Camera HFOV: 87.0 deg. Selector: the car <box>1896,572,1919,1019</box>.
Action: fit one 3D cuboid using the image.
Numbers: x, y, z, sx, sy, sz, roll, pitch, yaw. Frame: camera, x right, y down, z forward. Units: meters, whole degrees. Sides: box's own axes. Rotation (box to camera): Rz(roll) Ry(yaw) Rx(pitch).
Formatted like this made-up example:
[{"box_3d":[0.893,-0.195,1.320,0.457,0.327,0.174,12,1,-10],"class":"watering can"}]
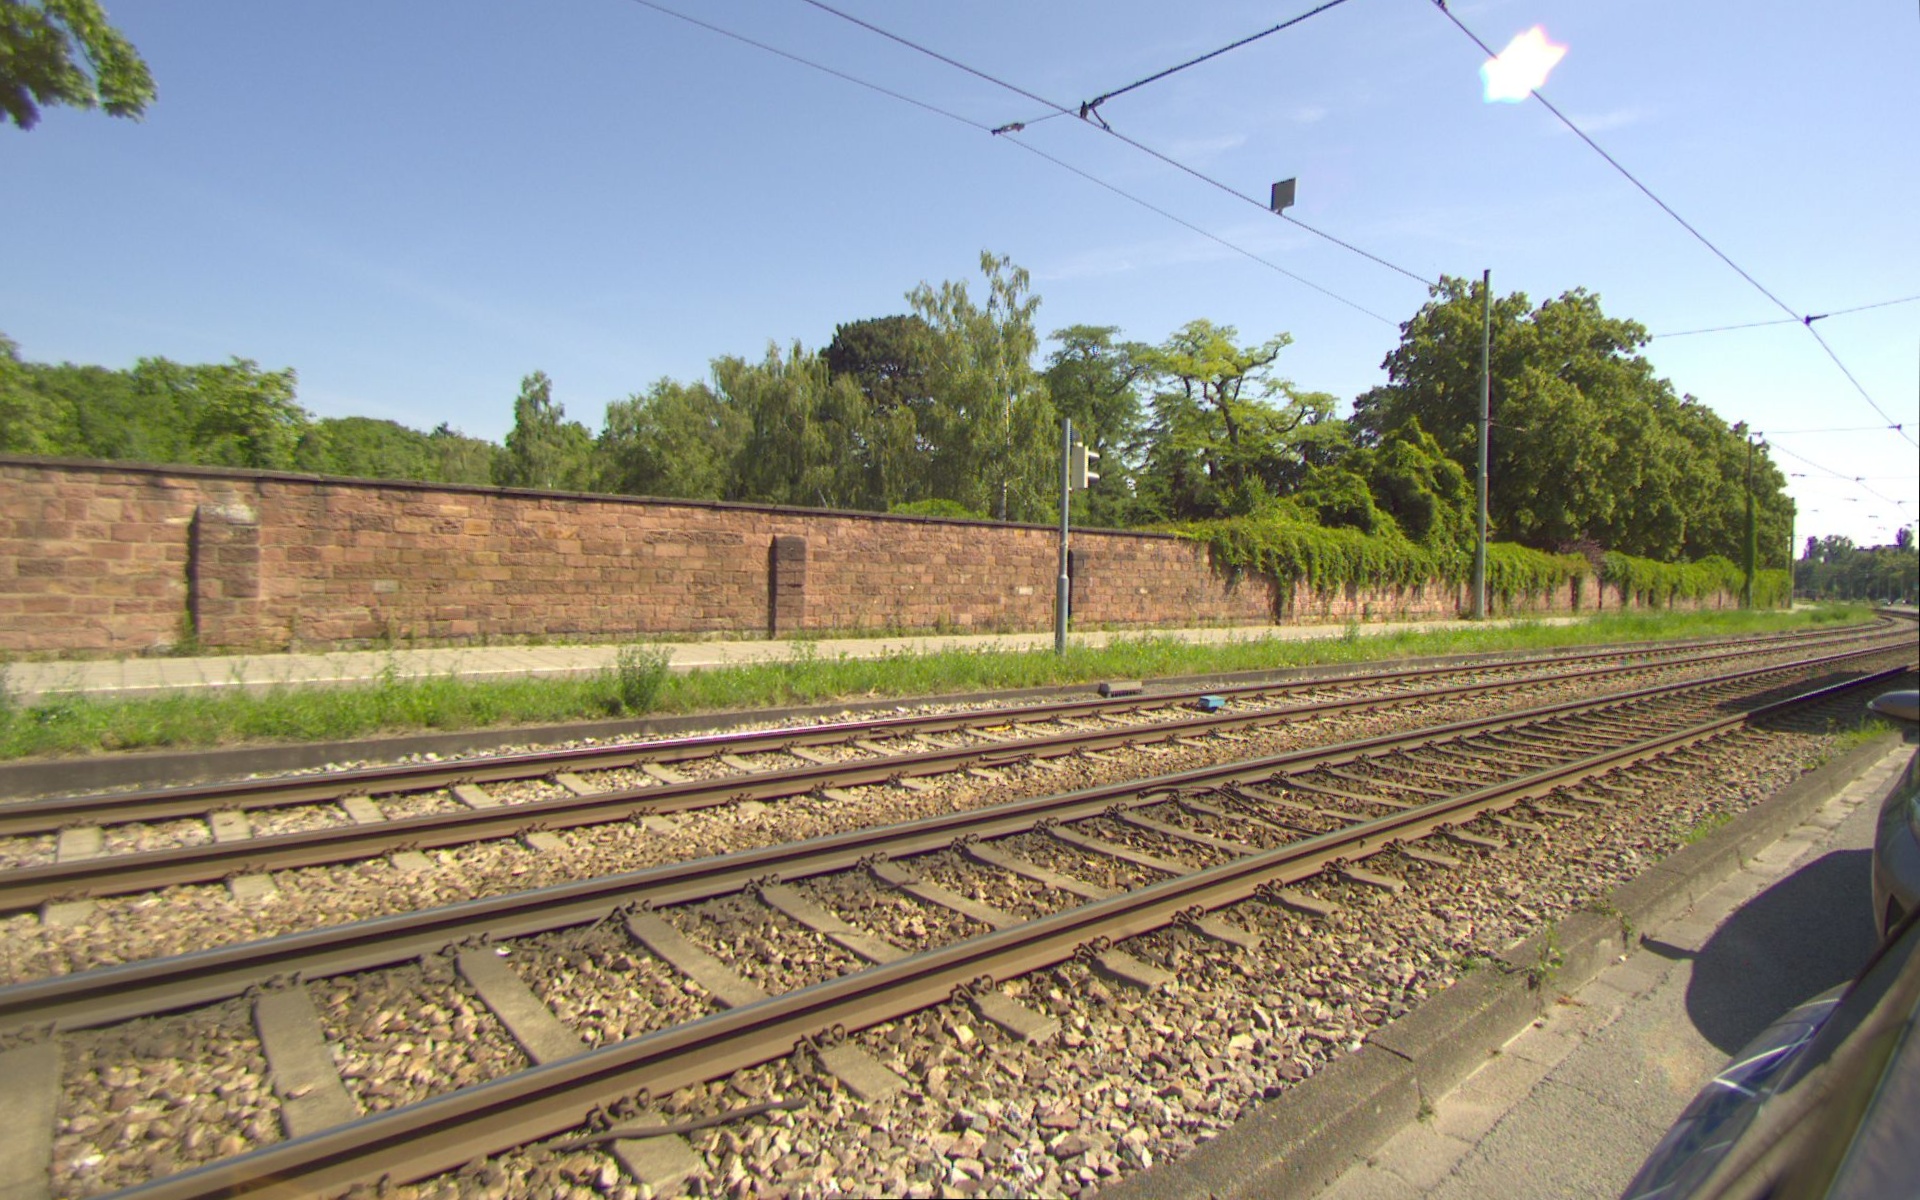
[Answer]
[{"box_3d":[5.084,0.665,4.000,3.930,1.448,1.573,0,2,-41],"class":"car"}]
